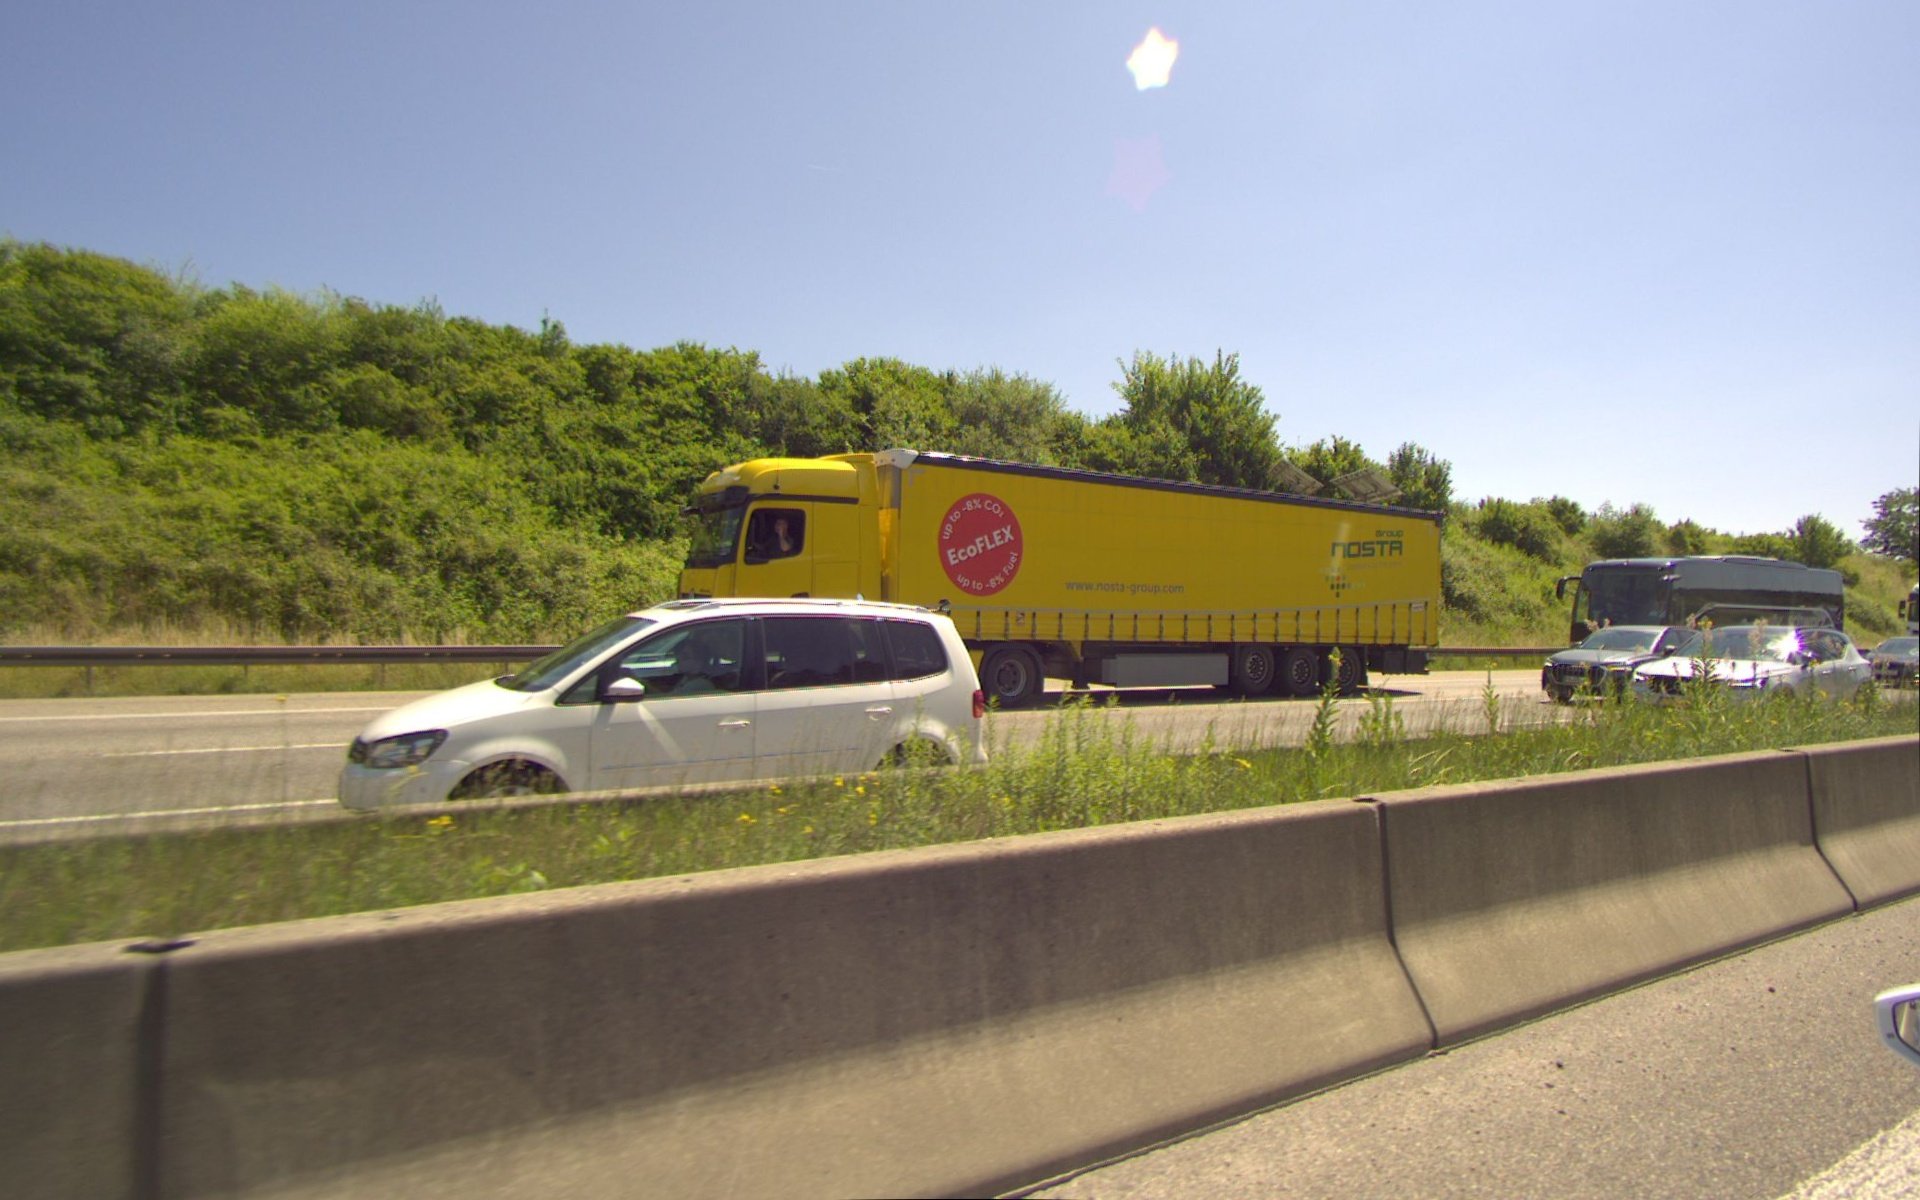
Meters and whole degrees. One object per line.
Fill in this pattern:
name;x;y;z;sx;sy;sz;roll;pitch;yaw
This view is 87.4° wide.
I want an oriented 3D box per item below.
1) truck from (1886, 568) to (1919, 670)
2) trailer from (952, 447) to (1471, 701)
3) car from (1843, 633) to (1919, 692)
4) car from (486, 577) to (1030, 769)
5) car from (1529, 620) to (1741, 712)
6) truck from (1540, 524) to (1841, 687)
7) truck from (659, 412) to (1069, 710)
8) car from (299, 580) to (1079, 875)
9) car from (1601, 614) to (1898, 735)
truck;42.178;0.903;42.254;6.947;4.168;2.768;2;-1;-30
trailer;5.625;-0.226;20.661;11.716;4.199;2.637;3;0;-30
car;27.913;1.822;29.339;4.704;1.569;1.767;3;-1;-30
car;-2.150;0.771;11.567;5.832;1.775;1.853;3;0;-30
car;13.818;1.329;20.501;4.505;1.634;1.767;3;0;-30
truck;22.496;0.340;30.616;11.354;4.277;3.041;3;0;-30
truck;-1.509;-0.441;16.515;6.060;4.118;2.590;2;0;-29
car;-1.700;0.745;7.264;4.971;1.533;1.803;3;0;-30
car;12.059;1.095;15.251;4.971;1.533;1.803;3;0;-30
